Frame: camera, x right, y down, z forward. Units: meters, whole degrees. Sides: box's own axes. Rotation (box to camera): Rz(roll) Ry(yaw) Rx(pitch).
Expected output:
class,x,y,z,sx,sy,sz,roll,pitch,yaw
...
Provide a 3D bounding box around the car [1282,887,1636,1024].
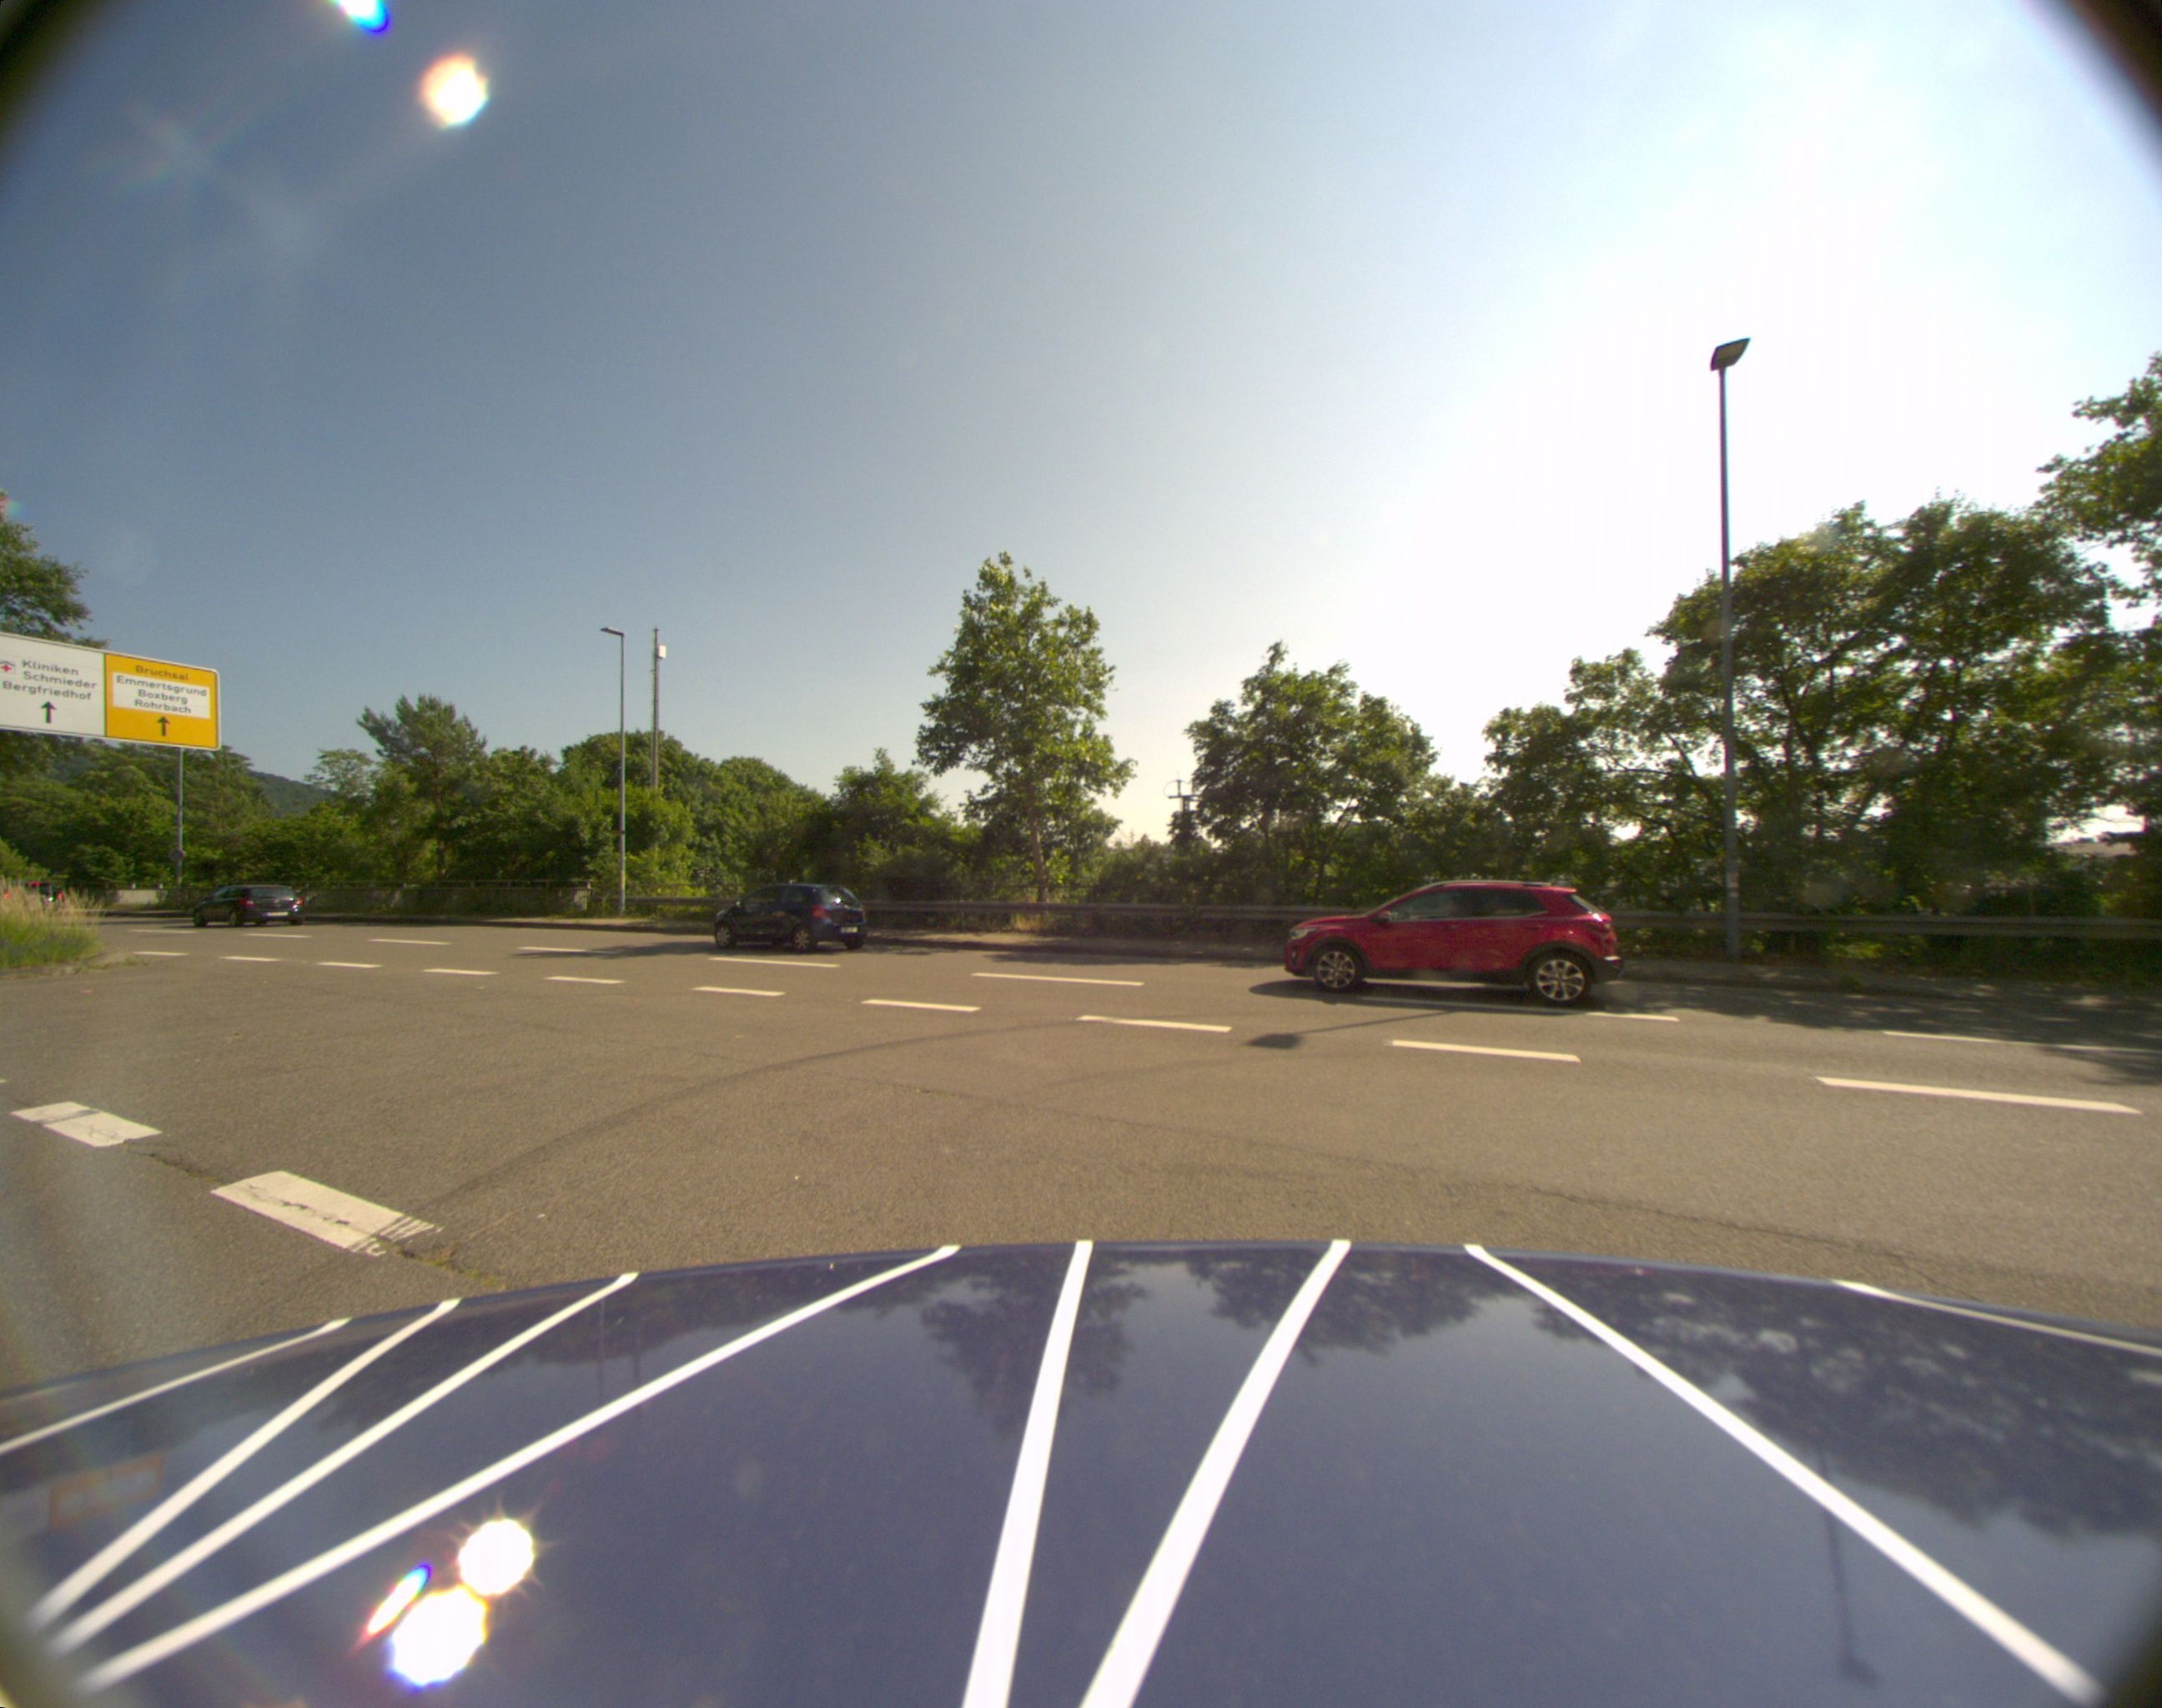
class,x,y,z,sx,sy,sz,roll,pitch,yaw
car,4.945,1.224,10.320,3.954,1.510,1.807,-1,-2,28

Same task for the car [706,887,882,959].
class,x,y,z,sx,sy,sz,roll,pitch,yaw
car,-6.542,1.494,17.307,3.640,1.491,1.650,-1,-2,25

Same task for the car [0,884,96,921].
class,x,y,z,sx,sy,sz,roll,pitch,yaw
car,-49.120,2.254,35.796,4.303,1.654,1.926,-1,-1,18

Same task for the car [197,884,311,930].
class,x,y,z,sx,sy,sz,roll,pitch,yaw
car,-29.090,1.822,26.717,3.568,1.460,1.684,-1,-1,25
